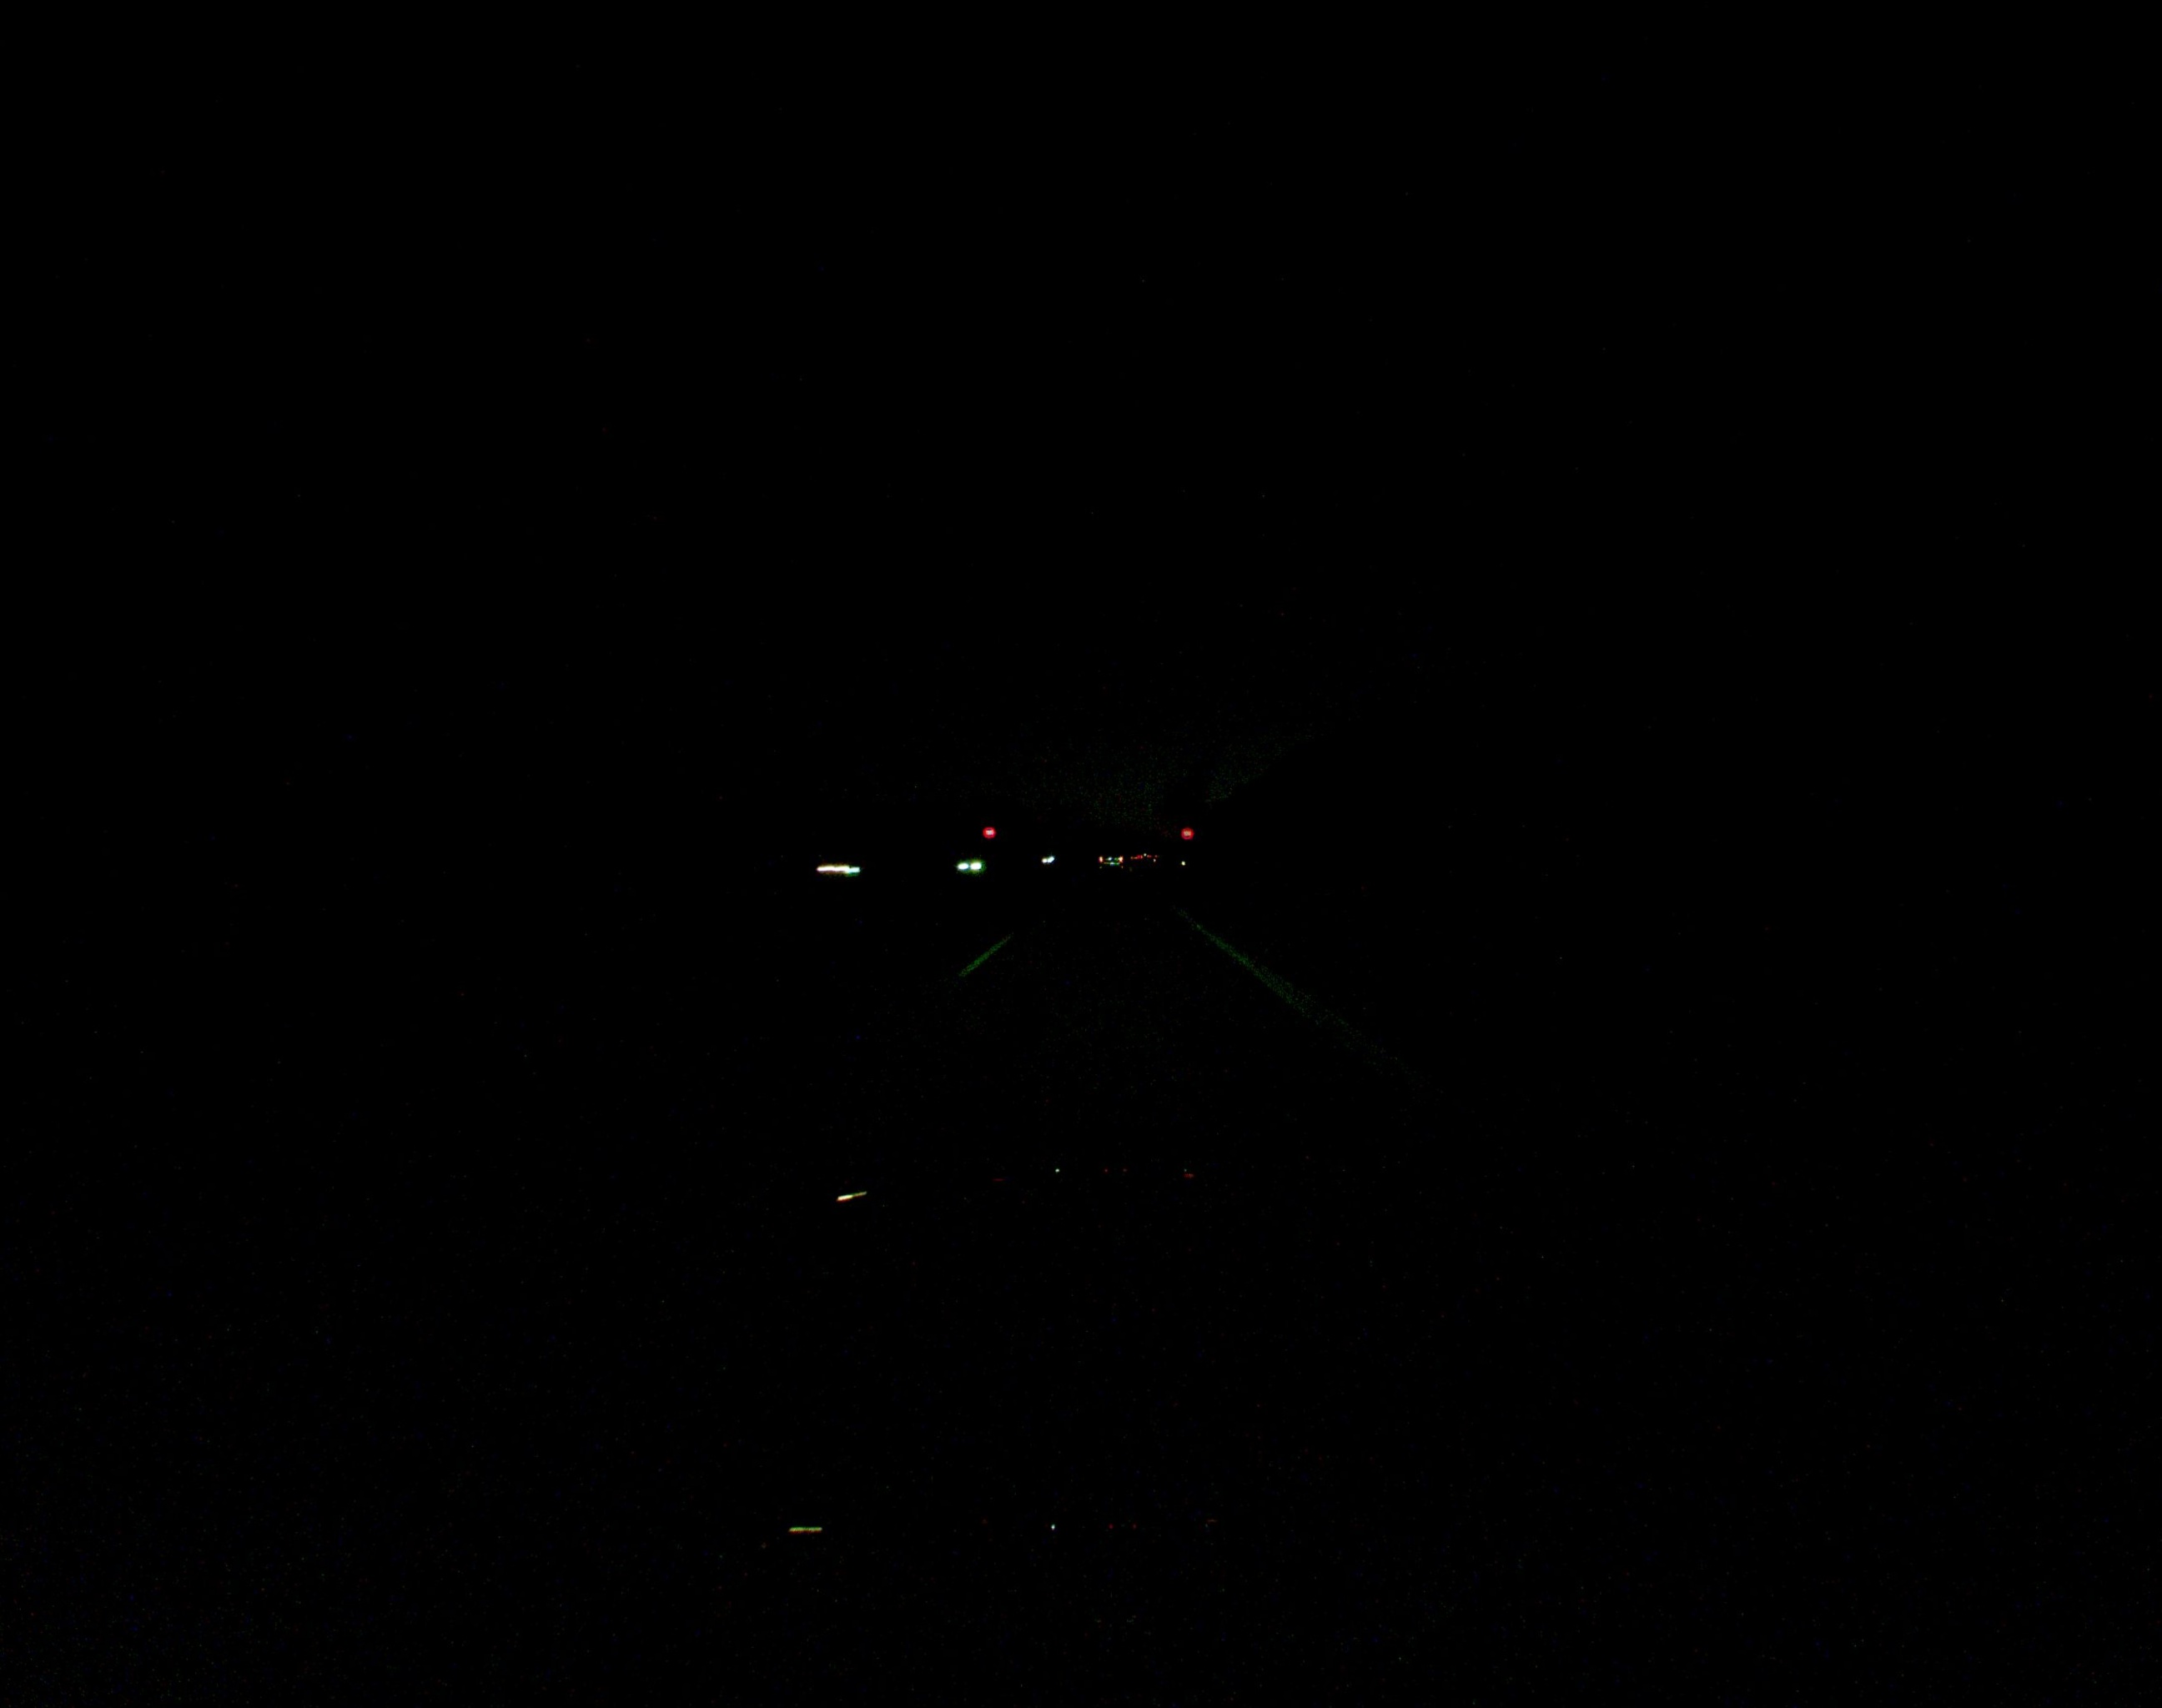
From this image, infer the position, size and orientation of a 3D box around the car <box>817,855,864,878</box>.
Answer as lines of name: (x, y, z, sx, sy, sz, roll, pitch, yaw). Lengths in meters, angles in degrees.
car: (-20.090, 1.034, 68.251, 1.984, 1.778, 5.096, -1, -1, 5)

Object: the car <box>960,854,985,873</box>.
car: (-11.771, 1.044, 88.582, 1.987, 2.014, 4.605, -1, -1, 1)

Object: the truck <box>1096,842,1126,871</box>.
truck: (2.823, 0.255, 77.131, 2.620, 2.624, 8.688, -1, -1, 2)

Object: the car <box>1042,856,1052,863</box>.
car: (-8.093, 1.302, 195.577, 1.986, 1.602, 4.215, -1, -1, 2)
